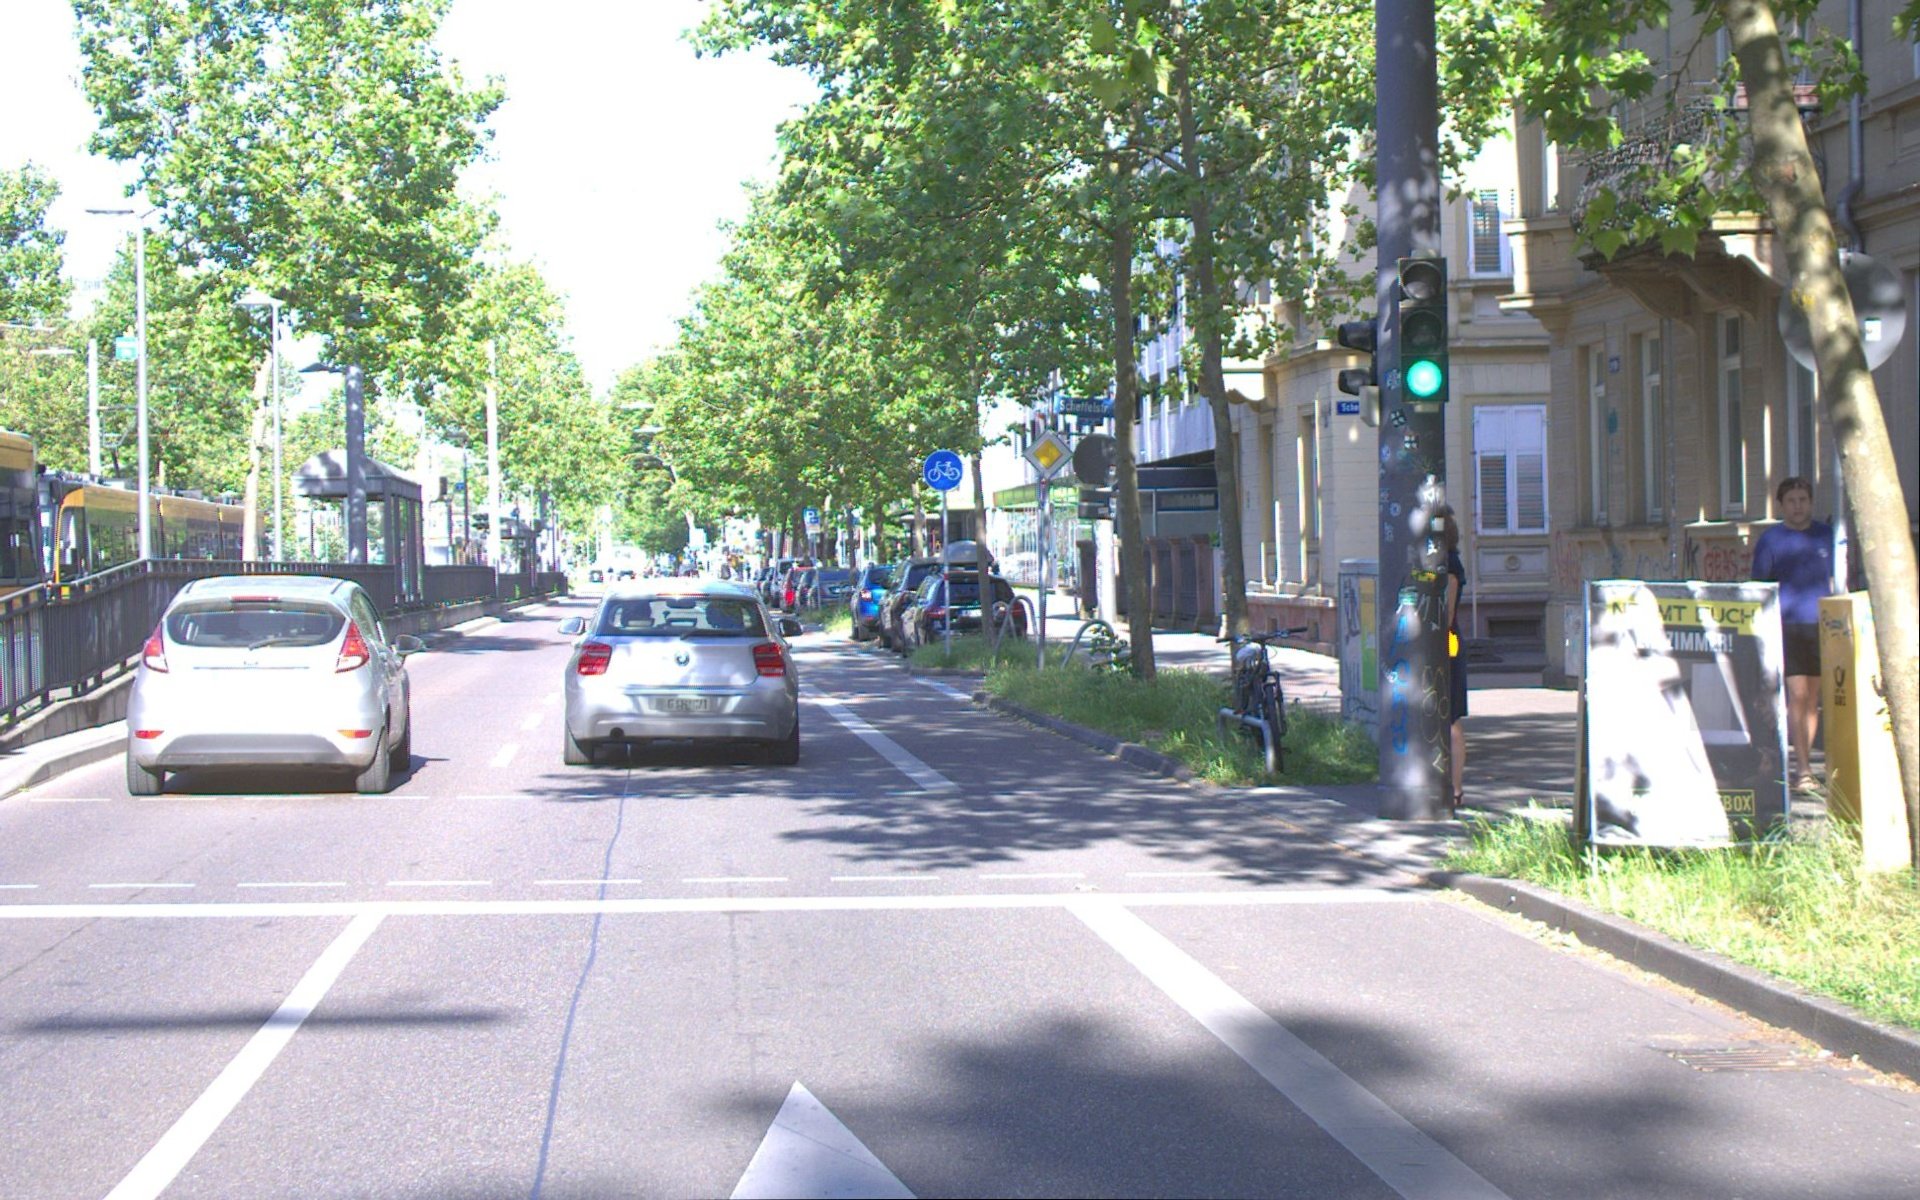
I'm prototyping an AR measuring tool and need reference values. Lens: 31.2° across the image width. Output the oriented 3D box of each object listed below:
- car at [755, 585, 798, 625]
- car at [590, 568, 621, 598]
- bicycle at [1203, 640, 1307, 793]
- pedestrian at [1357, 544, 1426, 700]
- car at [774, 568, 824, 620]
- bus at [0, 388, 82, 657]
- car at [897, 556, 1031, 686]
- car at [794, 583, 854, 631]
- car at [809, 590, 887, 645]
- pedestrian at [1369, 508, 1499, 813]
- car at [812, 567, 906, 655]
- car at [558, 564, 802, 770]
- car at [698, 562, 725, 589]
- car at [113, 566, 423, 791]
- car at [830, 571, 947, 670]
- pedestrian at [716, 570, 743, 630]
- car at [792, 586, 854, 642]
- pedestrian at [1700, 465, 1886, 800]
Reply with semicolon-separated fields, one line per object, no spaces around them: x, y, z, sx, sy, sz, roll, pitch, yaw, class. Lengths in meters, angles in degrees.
-7.745;0.201;144.741;1.700;1.529;3.717;1;1;-5;car
-24.458;-1.178;237.098;1.993;2.007;4.001;1;1;-5;car
2.056;0.796;24.115;0.428;0.967;1.751;1;1;-5;bicycle
5.129;0.256;40.893;0.564;1.820;0.959;1;1;-8;pedestrian
-6.042;-0.222;128.607;1.724;1.874;4.001;1;1;-5;car
-13.696;-0.967;43.793;2.868;3.432;11.612;-1;1;-5;bus
0.019;0.301;56.133;1.754;1.958;4.738;-1;1;-5;car
-4.487;0.207;113.141;1.806;1.515;4.001;1;0;-5;car
-3.205;0.490;97.743;1.993;1.504;4.598;1;0;-5;car
2.801;0.340;20.378;0.642;1.765;0.868;1;1;1;pedestrian
-2.127;0.194;71.406;1.691;1.652;4.040;-1;2;-5;car
-2.233;0.470;27.058;1.762;1.427;4.001;1;1;-6;car
-18.932;-1.870;261.575;1.993;2.007;4.001;-1;0;-4;car
-4.691;0.482;23.718;1.646;1.358;3.760;1;1;-4;car
-1.344;0.343;62.612;1.798;1.694;4.738;-1;1;-5;car
-7.763;-0.001;115.938;0.838;2.007;0.648;1;1;2;pedestrian
-4.115;0.407;102.843;1.669;1.546;4.001;1;1;-5;car
5.099;0.186;21.088;0.882;2.007;0.856;1;1;-1;pedestrian
